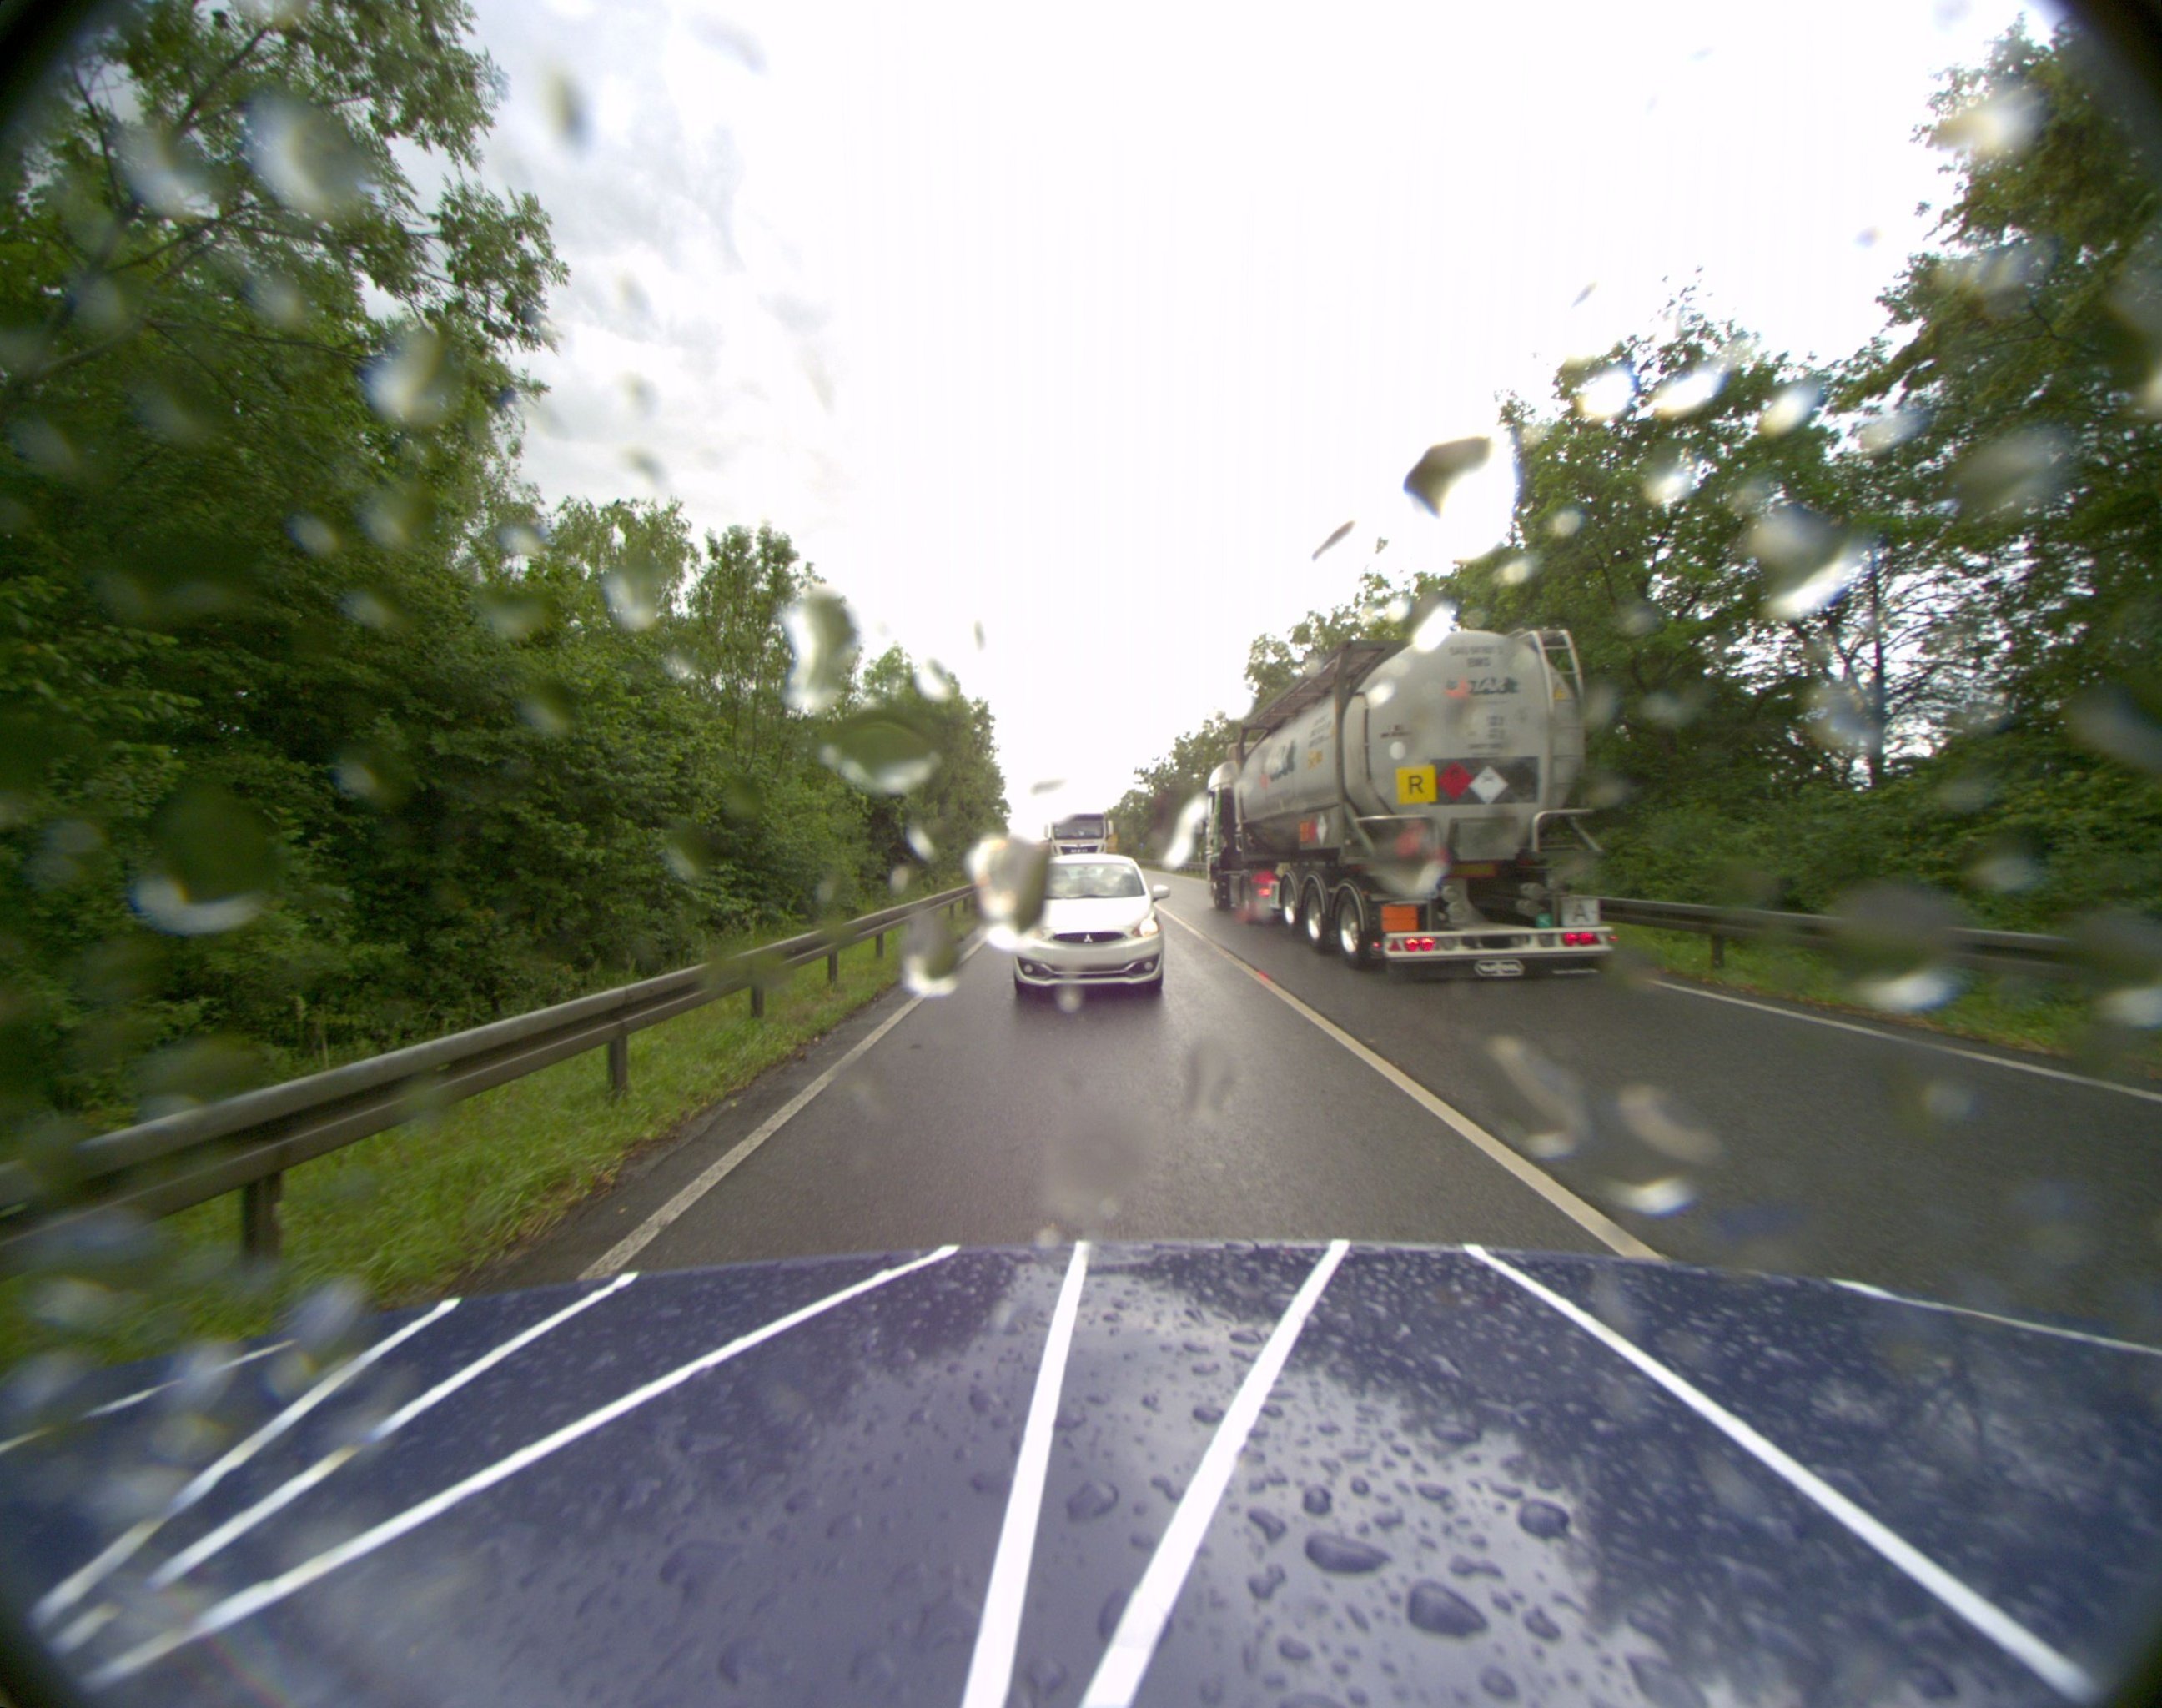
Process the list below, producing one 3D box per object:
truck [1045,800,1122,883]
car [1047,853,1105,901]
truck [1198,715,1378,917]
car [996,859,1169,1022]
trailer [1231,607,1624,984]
[{"bbox_3d":[-0.045,-0.612,36.774,3.137,3.364,9.280,-2,1,-2],"label":"truck"},{"bbox_3d":[-0.086,0.711,25.900,1.640,1.413,4.492,-2,0,3],"label":"car"},{"bbox_3d":[4.398,-0.768,17.272,2.542,3.803,5.243,-2,1,0],"label":"truck"},{"bbox_3d":[0.038,0.850,9.423,1.610,1.435,4.208,-2,1,1],"label":"car"},{"bbox_3d":[4.371,-0.666,11.770,2.542,3.803,7.790,-2,1,1],"label":"trailer"}]
